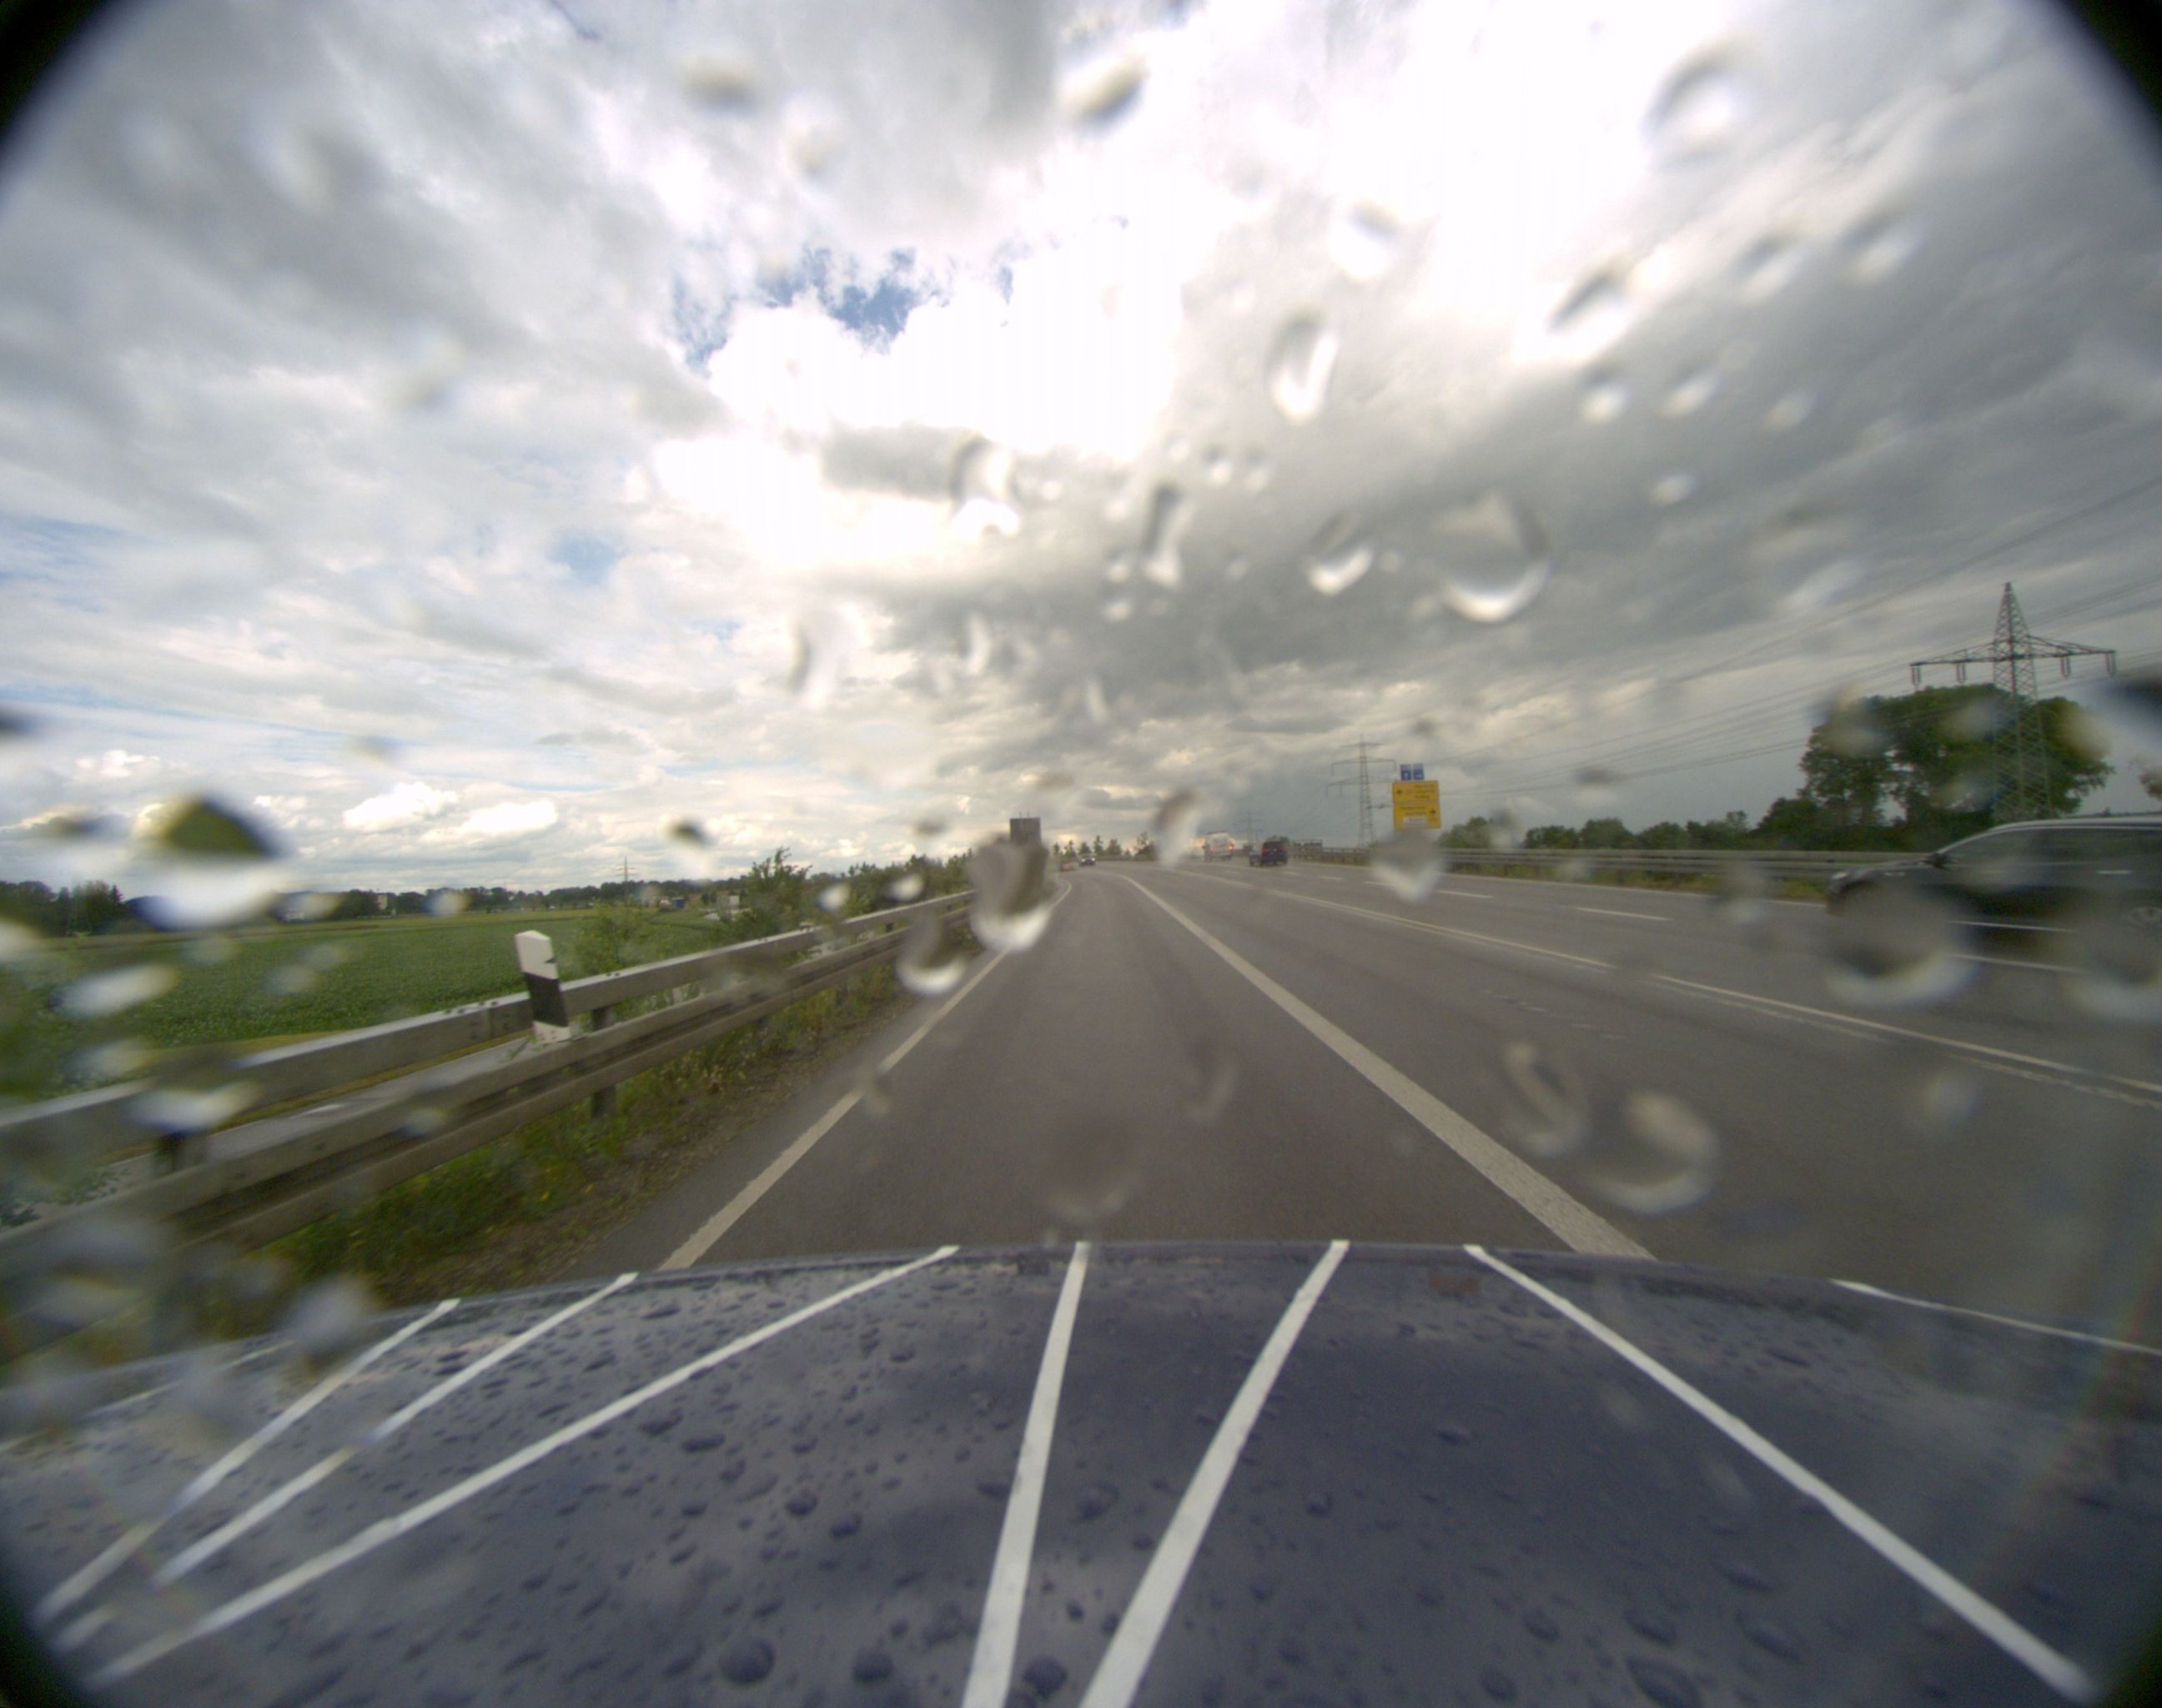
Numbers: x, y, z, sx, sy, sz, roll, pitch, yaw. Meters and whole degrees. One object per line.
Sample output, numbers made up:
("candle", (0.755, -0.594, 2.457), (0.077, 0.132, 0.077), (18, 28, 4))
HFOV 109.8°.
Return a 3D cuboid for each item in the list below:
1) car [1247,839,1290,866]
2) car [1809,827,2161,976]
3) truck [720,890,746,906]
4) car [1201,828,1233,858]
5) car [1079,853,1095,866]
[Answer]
("car", (12.337, -0.128, 50.256), (1.712, 1.600, 4.637), (-4, 0, 1))
("car", (11.450, 0.440, 8.672), (1.775, 1.418, 4.734), (-3, 0, 1))
("truck", (-101.160, 12.772, 220.579), (3.262, 4.312, 11.661), (-5, 1, -43))
("car", (12.867, -1.037, 72.172), (1.974, 2.639, 5.459), (-4, 0, 1))
("car", (0.813, 0.798, 106.930), (1.797, 1.758, 3.999), (-2, -2, -5))
